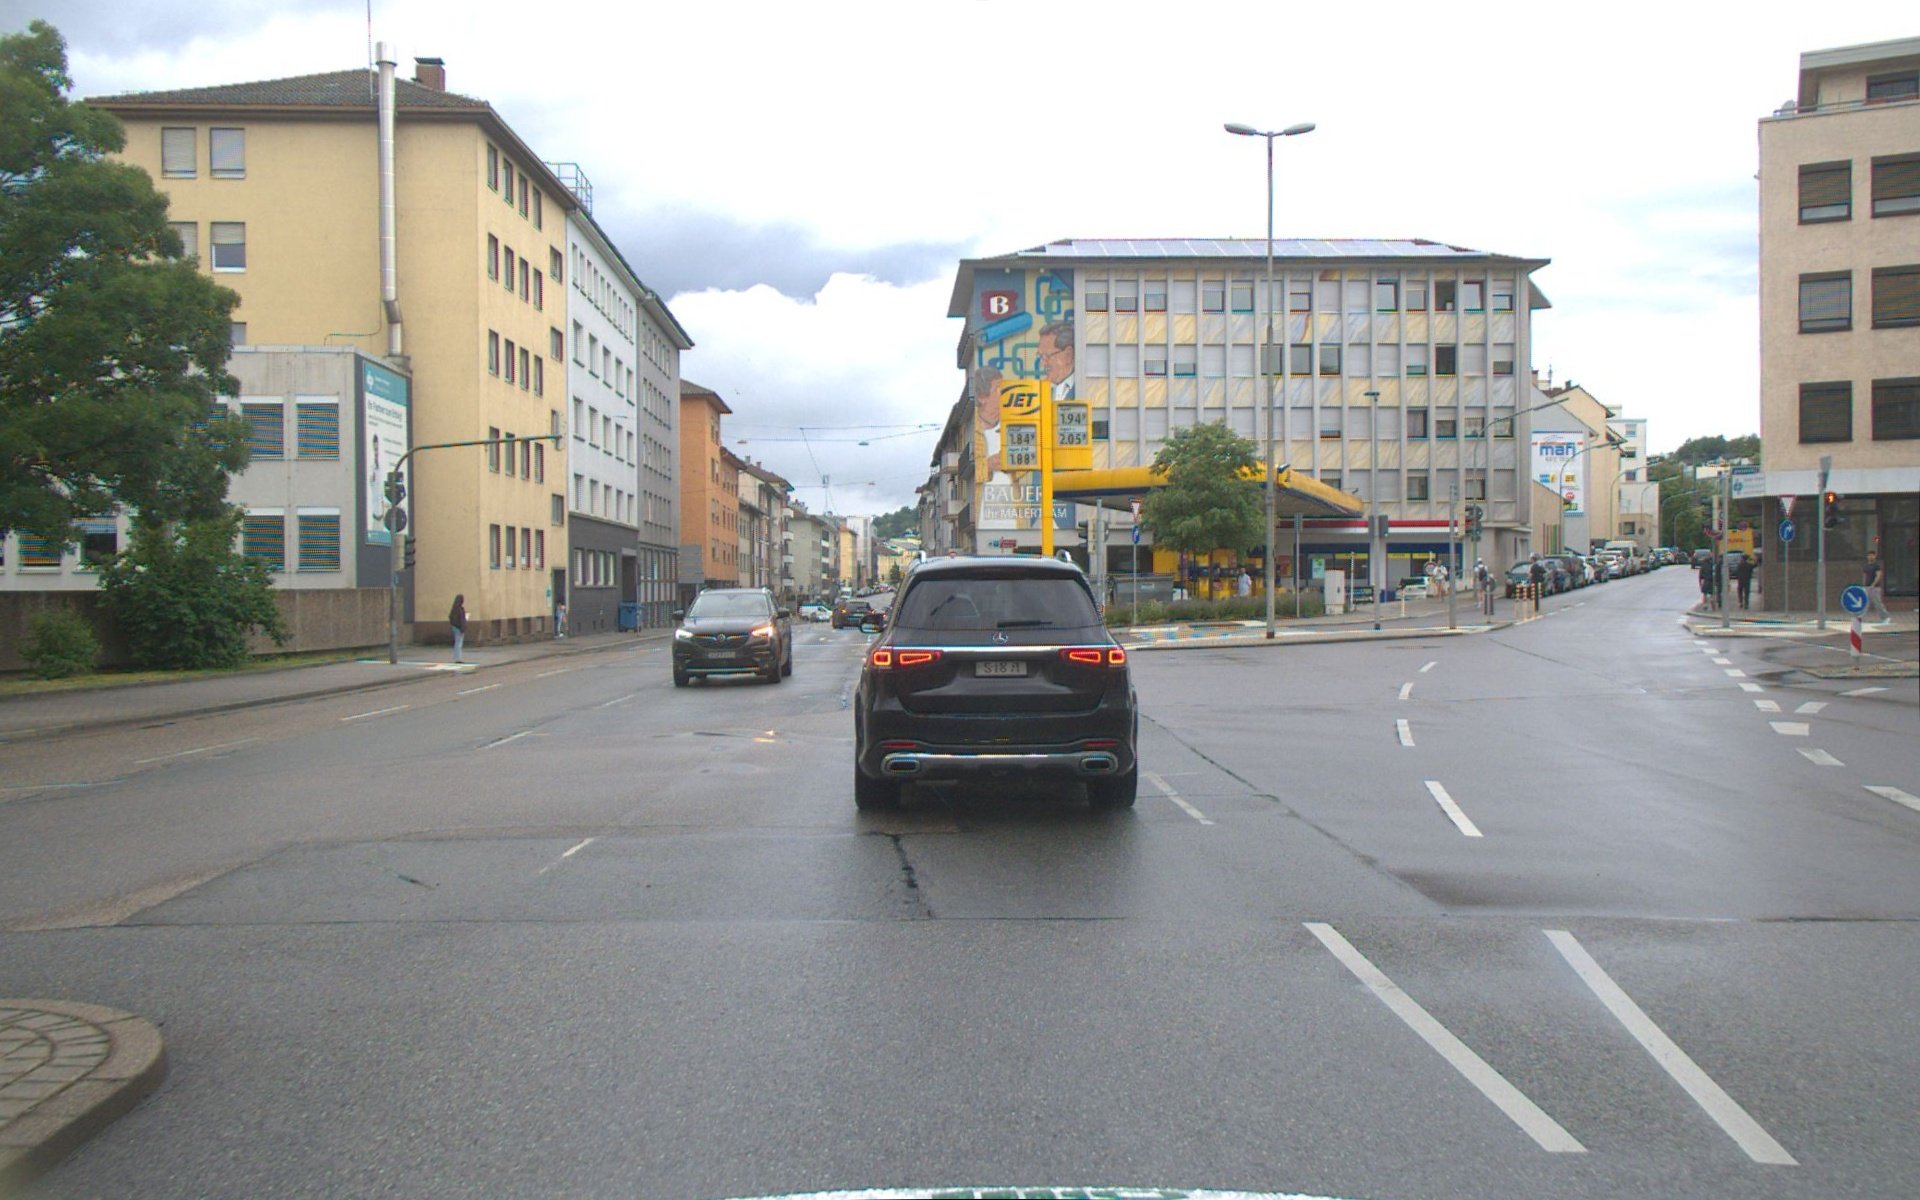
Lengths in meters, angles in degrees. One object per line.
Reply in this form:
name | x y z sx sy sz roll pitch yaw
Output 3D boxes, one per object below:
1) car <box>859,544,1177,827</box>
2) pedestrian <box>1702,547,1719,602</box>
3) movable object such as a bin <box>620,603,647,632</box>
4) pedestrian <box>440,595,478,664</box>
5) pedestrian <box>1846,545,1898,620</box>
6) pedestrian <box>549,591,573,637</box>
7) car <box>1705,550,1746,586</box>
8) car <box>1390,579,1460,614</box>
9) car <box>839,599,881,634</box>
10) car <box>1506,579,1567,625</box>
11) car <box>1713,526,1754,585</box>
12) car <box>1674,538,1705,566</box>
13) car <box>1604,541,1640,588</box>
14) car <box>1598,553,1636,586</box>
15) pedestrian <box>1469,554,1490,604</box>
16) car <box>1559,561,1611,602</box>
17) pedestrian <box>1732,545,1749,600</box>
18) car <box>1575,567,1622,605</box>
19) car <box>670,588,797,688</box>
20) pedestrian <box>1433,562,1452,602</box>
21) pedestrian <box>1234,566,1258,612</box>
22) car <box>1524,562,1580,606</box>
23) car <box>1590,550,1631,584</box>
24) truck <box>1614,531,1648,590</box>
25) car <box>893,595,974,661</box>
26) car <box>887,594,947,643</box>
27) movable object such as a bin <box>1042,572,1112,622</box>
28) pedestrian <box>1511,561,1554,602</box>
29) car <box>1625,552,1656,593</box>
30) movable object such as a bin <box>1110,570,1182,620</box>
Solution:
car | 0.265 0.556 12.973 2.035 1.796 4.608 1 0 -3
pedestrian | 24.569 -0.843 54.111 0.469 1.773 0.574 1 -1 27
movable object such as a bin | -15.362 0.809 77.872 1.055 1.347 1.190 1 0 -3
pedestrian | -12.698 0.742 41.931 0.702 1.719 0.811 1 -1 -1
pedestrian | 22.649 -0.431 41.074 0.840 1.822 0.773 1 -1 -7
pedestrian | -15.232 0.540 63.127 0.702 1.719 0.811 1 -1 -1
car | 45.329 -1.880 97.917 1.955 2.049 3.994 1 0 28
car | 22.287 -0.127 79.196 1.958 1.542 4.404 -3 -2 34
car | -5.013 0.812 83.352 2.035 1.678 4.292 1 0 -3
car | 24.574 0.095 70.454 1.954 1.897 4.576 1 0 25
car | 51.624 -2.923 110.332 2.330 3.752 4.988 1 0 27
car | 57.367 -3.765 130.017 1.955 2.049 3.994 1 0 28
car | 44.785 -2.402 111.866 1.954 3.025 4.576 1 0 25
car | 41.694 -1.920 104.934 1.954 1.897 4.576 1 0 25
pedestrian | 18.948 -0.765 60.292 0.663 1.788 0.732 1 -1 20
car | 30.508 -0.864 80.674 1.954 1.897 4.576 1 0 25
pedestrian | 25.383 -0.878 53.759 0.469 1.773 0.574 1 -1 27
car | 33.572 -0.722 86.879 1.954 1.897 4.576 1 0 25
car | -3.913 0.617 29.209 1.771 1.622 4.293 -1 0 -2
pedestrian | 18.862 -0.702 64.664 0.570 1.541 0.472 1 -1 -44
pedestrian | 10.057 -0.378 58.159 0.651 1.613 0.847 1 -1 0
car | 27.021 -0.699 75.412 1.954 1.897 4.576 1 0 25
car | 39.506 -1.987 100.386 1.954 1.897 4.576 1 0 25
truck | 48.142 -2.794 118.582 1.954 3.982 5.480 1 0 25
car | -0.767 0.723 44.915 2.035 1.678 4.292 1 0 -3
car | -1.583 0.649 59.826 2.035 1.678 4.292 1 0 -3
movable object such as a bin | 3.904 -0.093 55.449 2.112 1.602 1.772 -1 0 -2
pedestrian | 19.618 -0.638 56.672 0.910 1.376 1.096 1 -1 -43
car | 52.918 -2.137 128.598 1.954 3.069 4.576 1 0 25
movable object such as a bin | 6.218 -0.172 55.560 2.112 1.582 1.772 -2 0 -2
